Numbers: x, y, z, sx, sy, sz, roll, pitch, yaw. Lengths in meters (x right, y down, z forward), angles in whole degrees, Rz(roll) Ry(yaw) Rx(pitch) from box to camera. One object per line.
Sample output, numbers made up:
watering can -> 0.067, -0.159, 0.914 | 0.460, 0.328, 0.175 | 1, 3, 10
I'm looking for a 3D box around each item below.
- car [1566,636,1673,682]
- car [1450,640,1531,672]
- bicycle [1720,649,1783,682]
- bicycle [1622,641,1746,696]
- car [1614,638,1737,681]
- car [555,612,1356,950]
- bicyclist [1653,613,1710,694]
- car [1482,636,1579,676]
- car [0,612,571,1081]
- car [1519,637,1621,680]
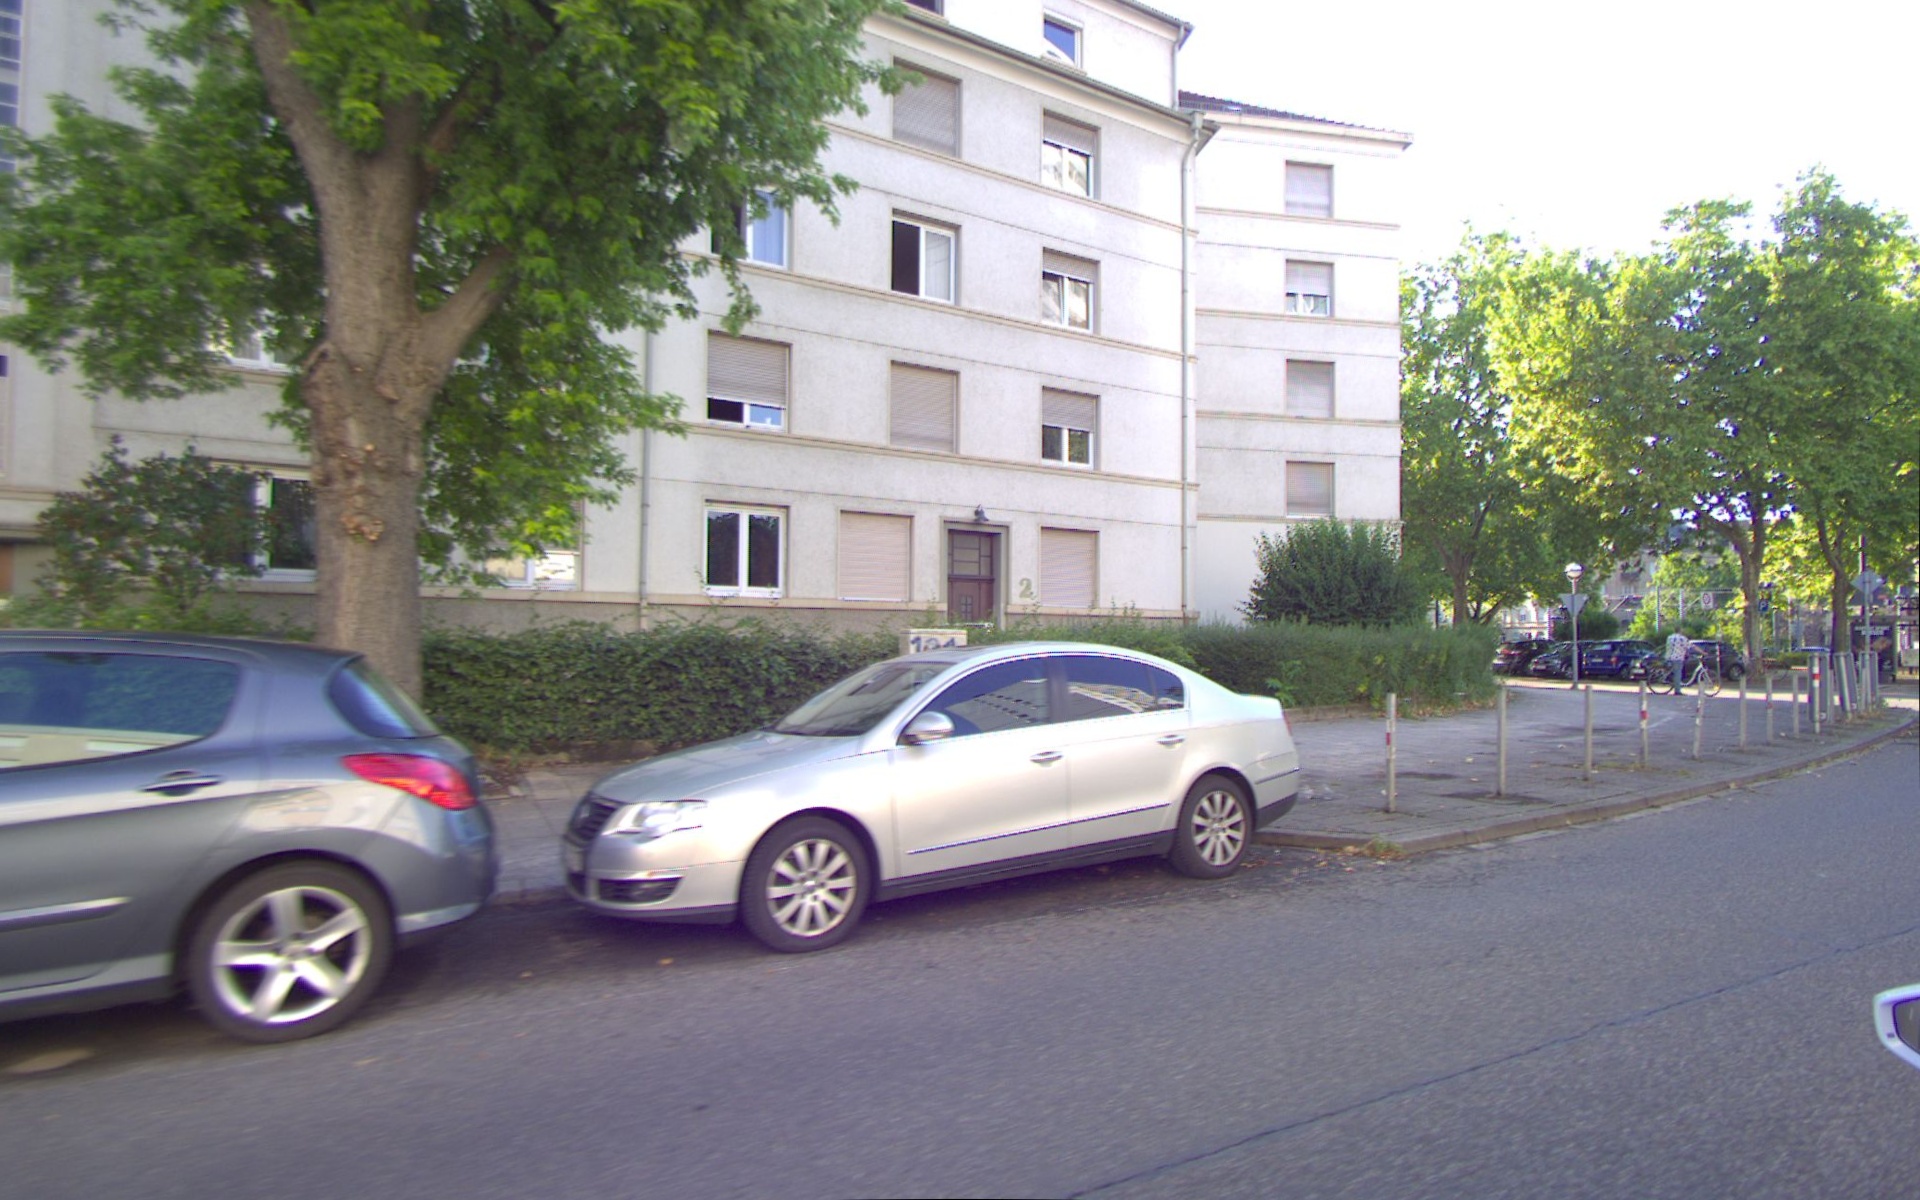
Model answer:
car -> 26.505, 2.350, 40.381 | 3.947, 1.639, 1.867 | -1, -1, -27
car -> 24.976, 2.636, 47.273 | 3.653, 1.353, 1.642 | 3, -1, -29
bicycle -> 29.243, 2.419, 37.098 | 3.254, 1.160, 0.714 | 3, -1, -31
bicycle -> 18.931, 1.772, 26.300 | 2.433, 1.281, 1.012 | 2, -1, 4
car -> 26.462, 2.167, 37.190 | 3.586, 1.537, 1.752 | 1, -2, -12
car -> 0.165, 0.859, 6.149 | 4.658, 1.370, 1.760 | 3, -1, -32
bicyclist -> 18.872, 1.376, 26.294 | 0.781, 2.040, 0.978 | 2, -1, 5
car -> 25.417, 2.497, 44.770 | 3.948, 1.639, 1.867 | 3, -1, -26
car -> -3.777, 0.790, 3.770 | 4.081, 1.458, 1.695 | 3, -1, -31
car -> 25.709, 2.467, 42.330 | 3.948, 1.639, 1.867 | 3, -1, -26
